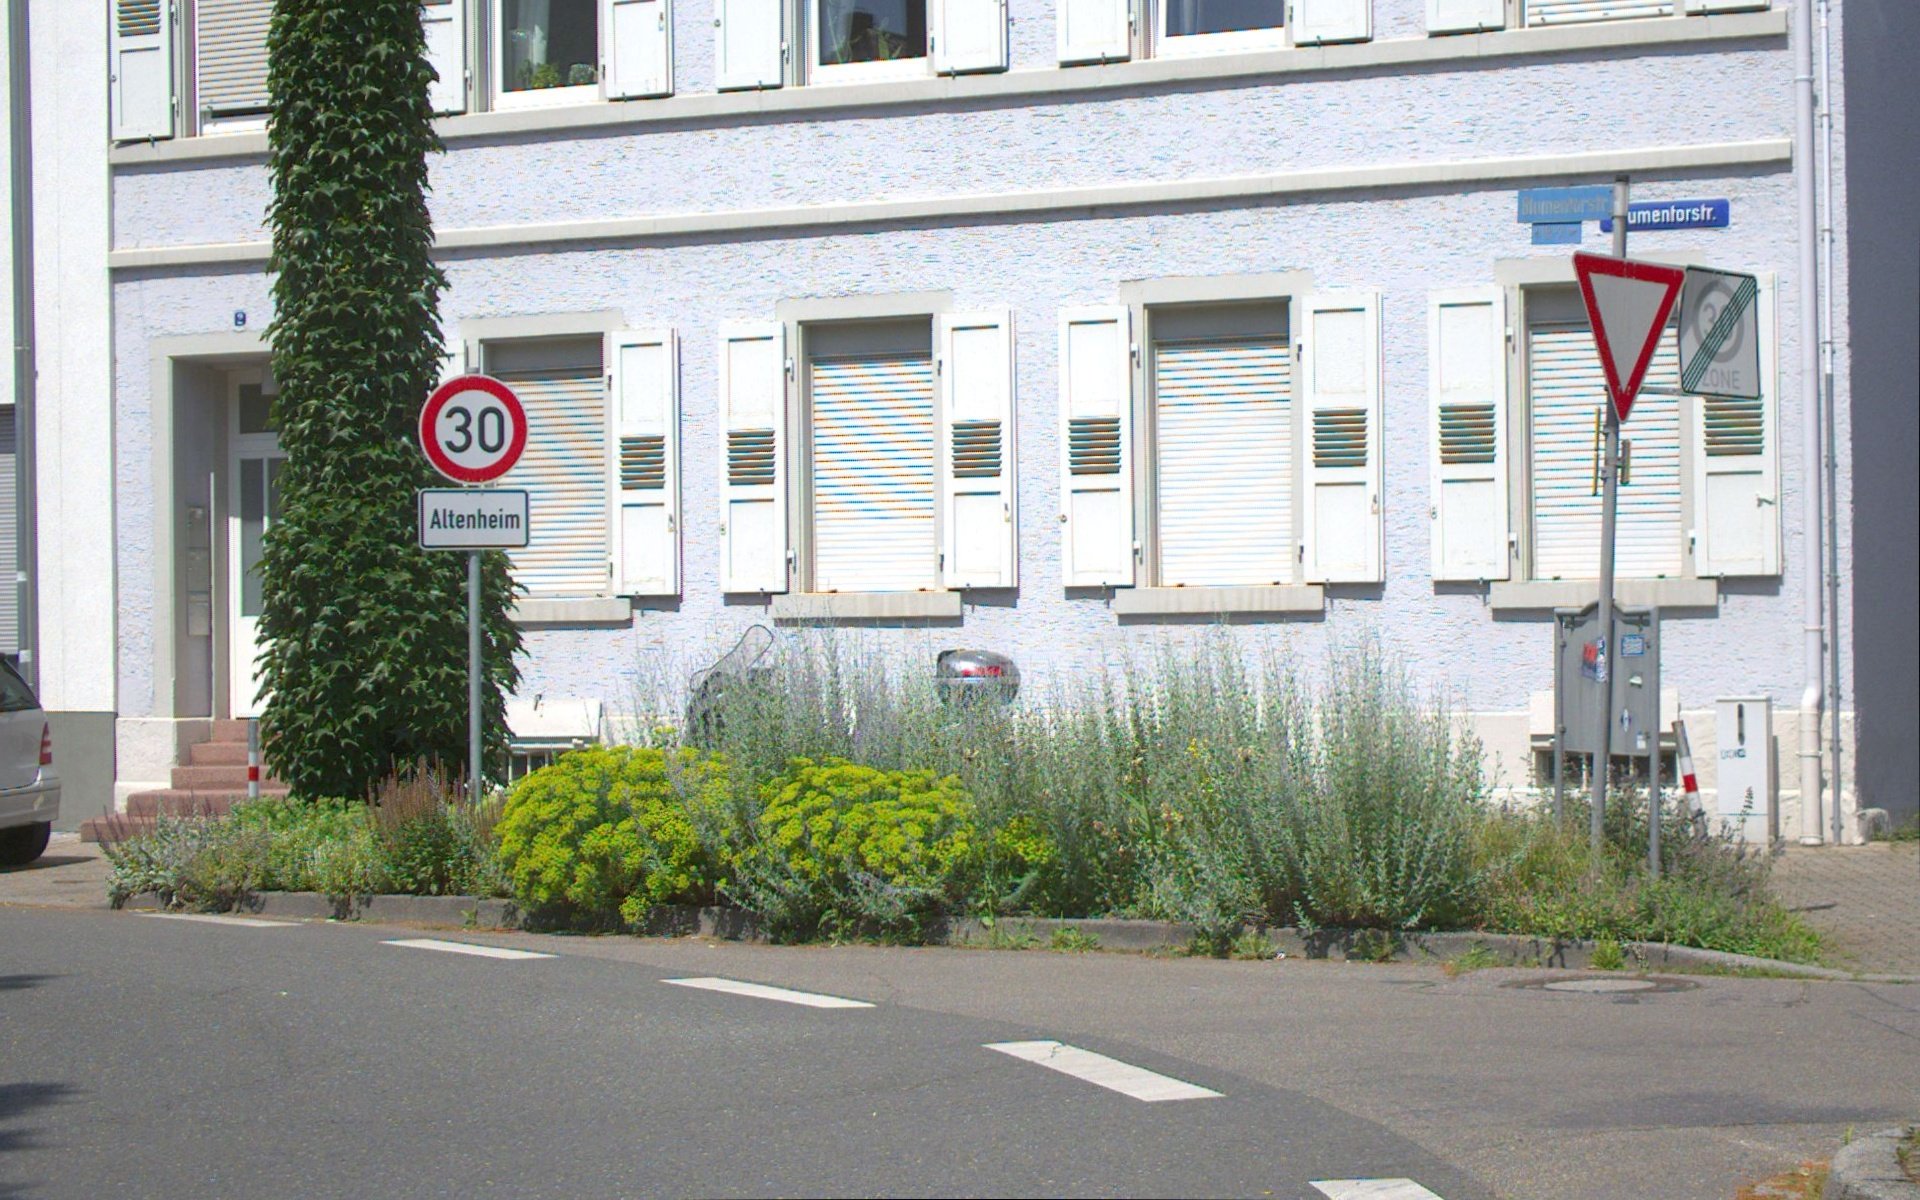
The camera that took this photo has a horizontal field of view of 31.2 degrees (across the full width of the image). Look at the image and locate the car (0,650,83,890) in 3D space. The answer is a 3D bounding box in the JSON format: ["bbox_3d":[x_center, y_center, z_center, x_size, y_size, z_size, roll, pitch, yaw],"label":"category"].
[{"bbox_3d":[-7.909,1.114,23.528,3.612,1.581,1.581,0,-2,31],"label":"car"}]
